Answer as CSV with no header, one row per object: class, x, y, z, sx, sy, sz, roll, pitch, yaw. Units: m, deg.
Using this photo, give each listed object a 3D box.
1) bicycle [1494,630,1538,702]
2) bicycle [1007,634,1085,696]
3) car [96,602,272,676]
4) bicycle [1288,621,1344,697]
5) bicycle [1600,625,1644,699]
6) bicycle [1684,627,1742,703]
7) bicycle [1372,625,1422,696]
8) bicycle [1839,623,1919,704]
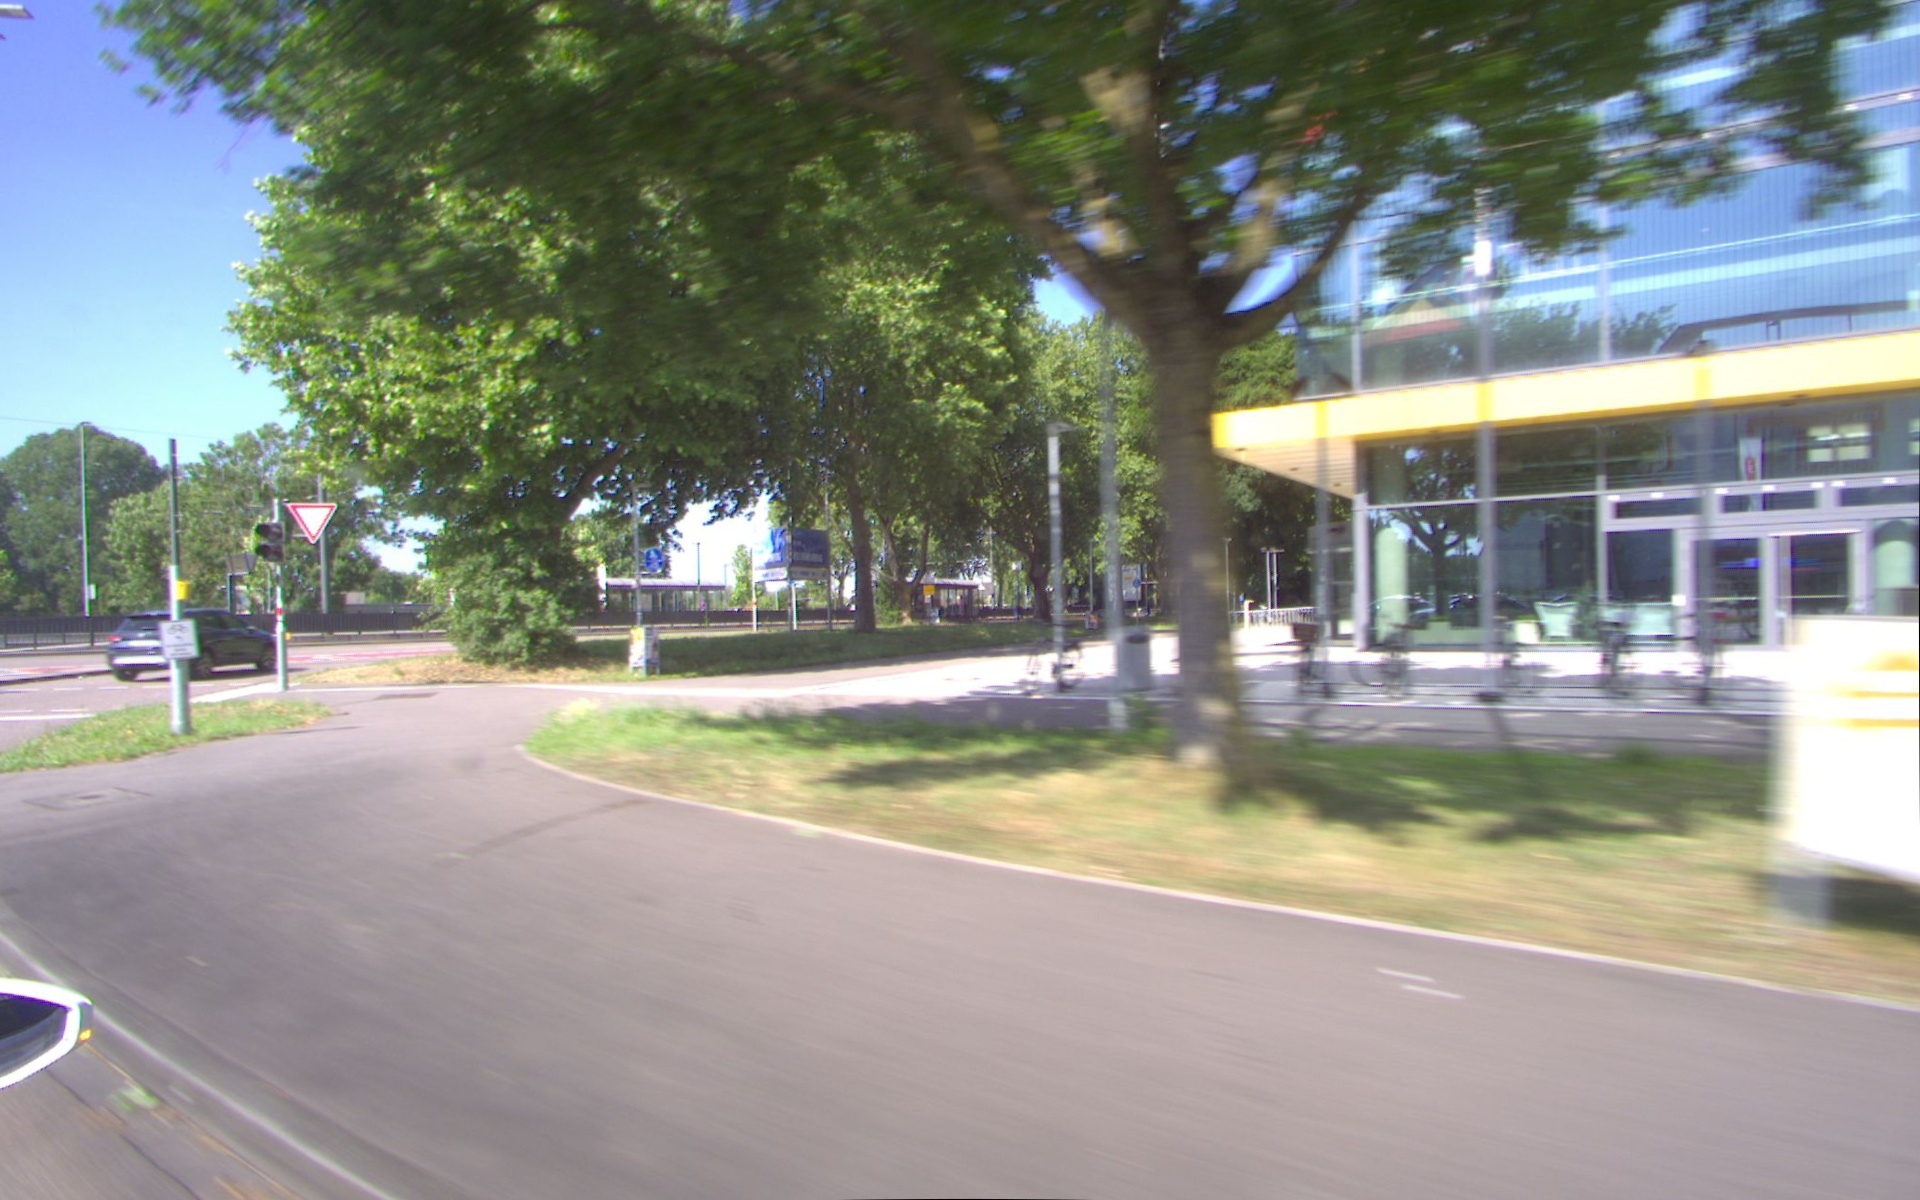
bicycle,7.330,0.841,13.183,0.427,0.854,1.558,0,0,32
bicycle,1.370,0.981,15.622,0.427,0.854,1.825,0,0,32
car,-17.453,0.849,22.717,1.643,1.543,3.376,0,-1,-7
bicycle,5.123,0.813,14.369,0.427,1.008,1.558,0,0,32
bicycle,8.478,0.766,12.849,0.427,0.854,1.558,0,0,32
bicycle,9.338,0.775,12.446,0.427,0.854,1.558,0,0,32
bicycle,6.154,0.821,14.061,0.427,0.922,1.558,0,0,32
bicycle,10.750,0.714,11.736,0.427,0.854,1.558,0,0,32
